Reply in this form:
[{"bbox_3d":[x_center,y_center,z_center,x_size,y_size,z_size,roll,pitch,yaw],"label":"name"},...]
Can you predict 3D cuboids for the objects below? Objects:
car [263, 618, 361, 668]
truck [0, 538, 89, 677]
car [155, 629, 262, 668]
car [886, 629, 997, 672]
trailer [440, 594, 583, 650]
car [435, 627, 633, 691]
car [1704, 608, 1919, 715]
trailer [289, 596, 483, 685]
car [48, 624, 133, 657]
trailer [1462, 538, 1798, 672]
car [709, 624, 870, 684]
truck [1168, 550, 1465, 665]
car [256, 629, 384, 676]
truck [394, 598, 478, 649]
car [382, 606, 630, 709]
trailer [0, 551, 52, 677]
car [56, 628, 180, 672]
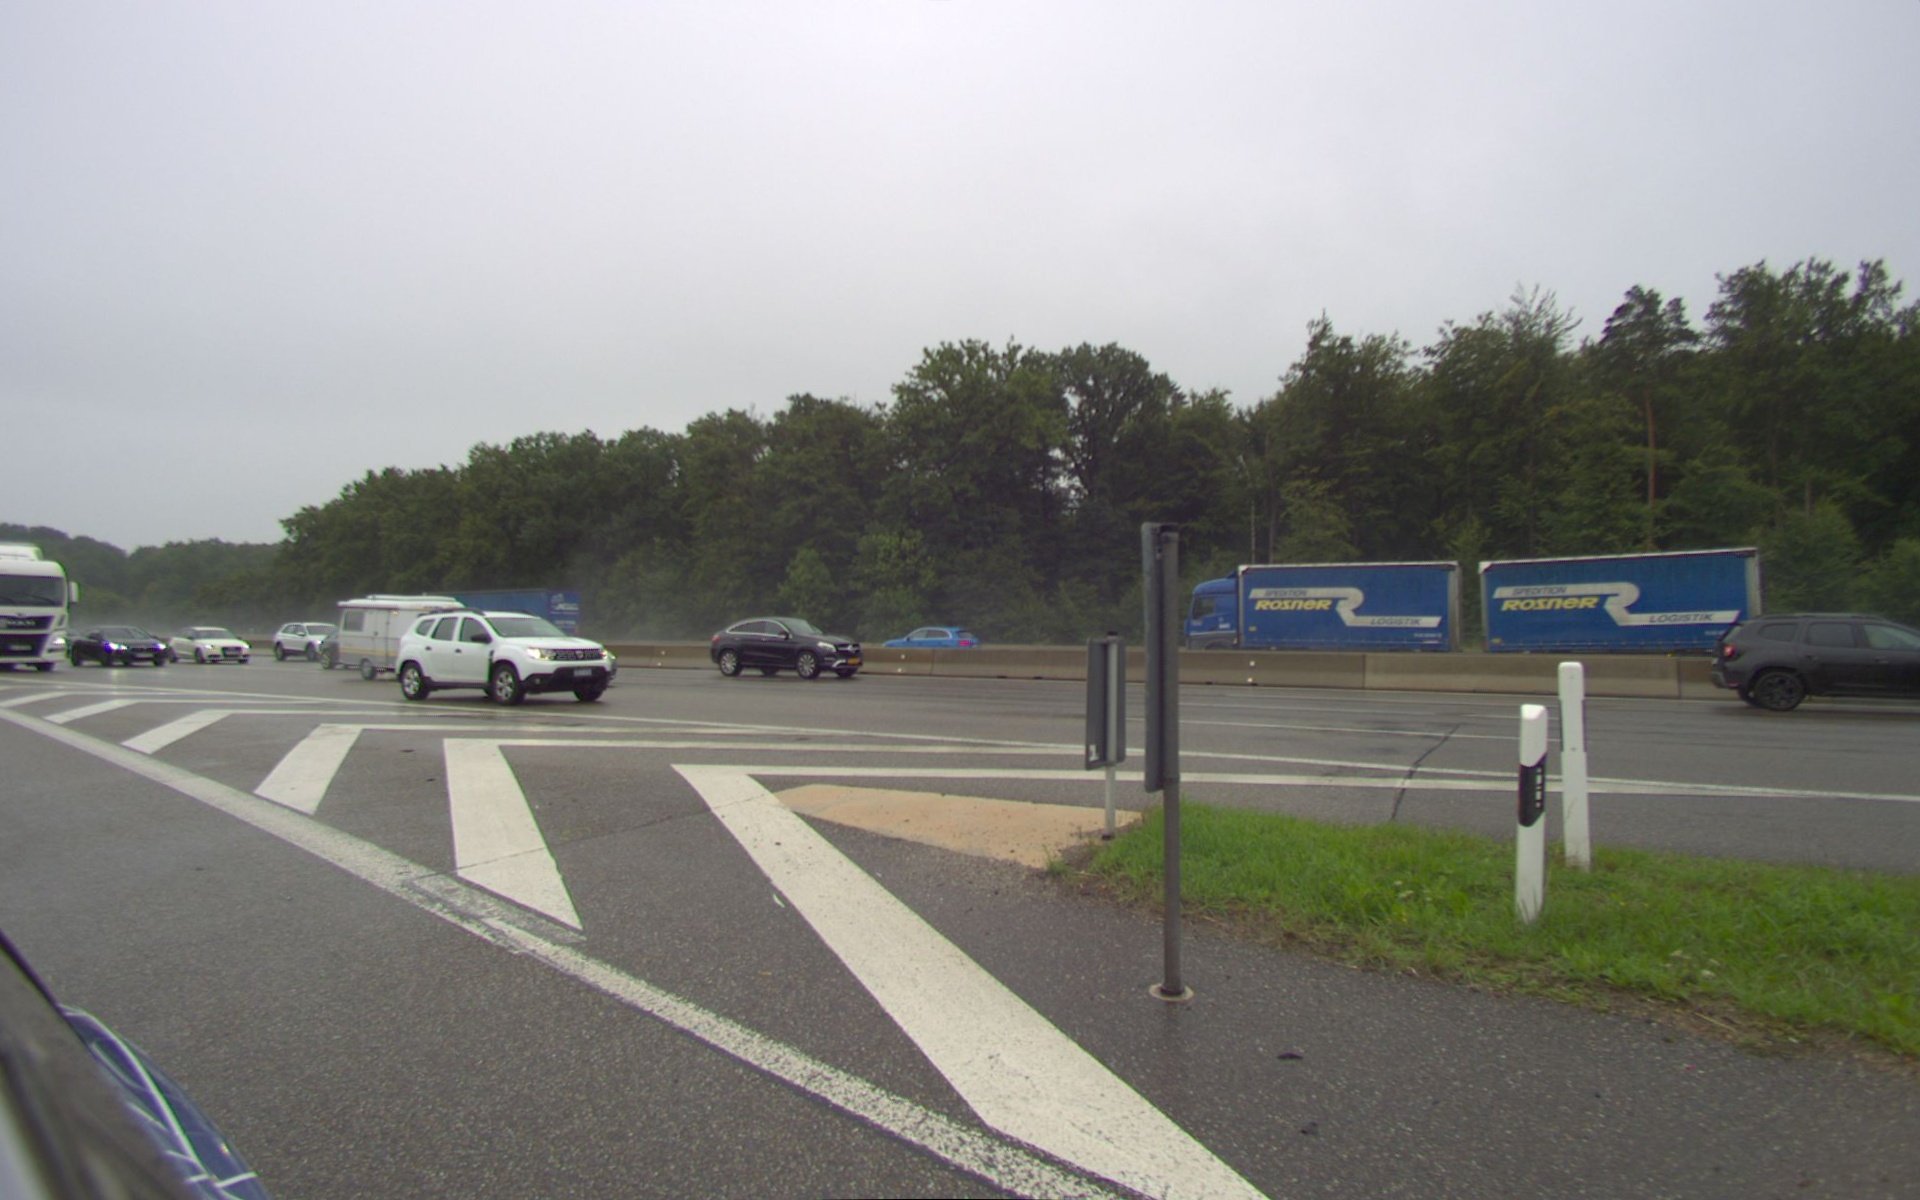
[{"bbox_3d":[-28.136,1.869,43.941,3.983,2.029,1.923,-2,0,30],"label":"car"},{"bbox_3d":[-30.462,0.298,31.876,5.913,4.083,2.851,-2,-3,31],"label":"truck"},{"bbox_3d":[-29.998,1.913,40.361,4.486,1.492,1.866,-1,-3,31],"label":"car"},{"bbox_3d":[-0.801,2.133,43.089,4.352,1.732,1.979,-1,-3,31],"label":"car"},{"bbox_3d":[-29.442,1.461,66.169,11.362,3.443,2.711,-1,-1,32],"label":"trailer"},{"bbox_3d":[-9.881,1.351,23.390,4.563,1.358,1.833,-2,-4,30],"label":"car"},{"bbox_3d":[15.305,1.012,16.824,4.439,1.676,1.913,-1,-3,29],"label":"car"},{"bbox_3d":[-15.214,1.095,26.778,5.159,2.172,2.114,-2,-4,30],"label":"trailer"},{"bbox_3d":[-41.122,1.930,47.846,4.108,1.425,1.805,-3,-4,31],"label":"car"},{"bbox_3d":[22.259,0.112,34.396,9.130,4.076,3.070,-1,2,30],"label":"trailer"},{"bbox_3d":[-4.891,1.517,28.825,4.508,1.587,1.692,-1,-4,31],"label":"car"},{"bbox_3d":[13.689,0.233,39.413,10.518,4.009,3.040,-1,2,31],"label":"truck"},{"bbox_3d":[-22.476,1.817,35.530,4.512,1.552,1.979,-1,-3,31],"label":"car"},{"bbox_3d":[-36.663,1.626,70.769,5.692,3.441,2.740,-1,-2,33],"label":"truck"},{"bbox_3d":[-7.939,0.997,17.604,4.307,1.598,1.773,-2,-4,31],"label":"car"},{"bbox_3d":[-36.553,0.598,35.630,14.068,4.013,2.873,-2,-3,32],"label":"trailer"},{"bbox_3d":[-30.305,1.778,36.400,4.481,1.492,1.868,-1,-3,28],"label":"car"}]
